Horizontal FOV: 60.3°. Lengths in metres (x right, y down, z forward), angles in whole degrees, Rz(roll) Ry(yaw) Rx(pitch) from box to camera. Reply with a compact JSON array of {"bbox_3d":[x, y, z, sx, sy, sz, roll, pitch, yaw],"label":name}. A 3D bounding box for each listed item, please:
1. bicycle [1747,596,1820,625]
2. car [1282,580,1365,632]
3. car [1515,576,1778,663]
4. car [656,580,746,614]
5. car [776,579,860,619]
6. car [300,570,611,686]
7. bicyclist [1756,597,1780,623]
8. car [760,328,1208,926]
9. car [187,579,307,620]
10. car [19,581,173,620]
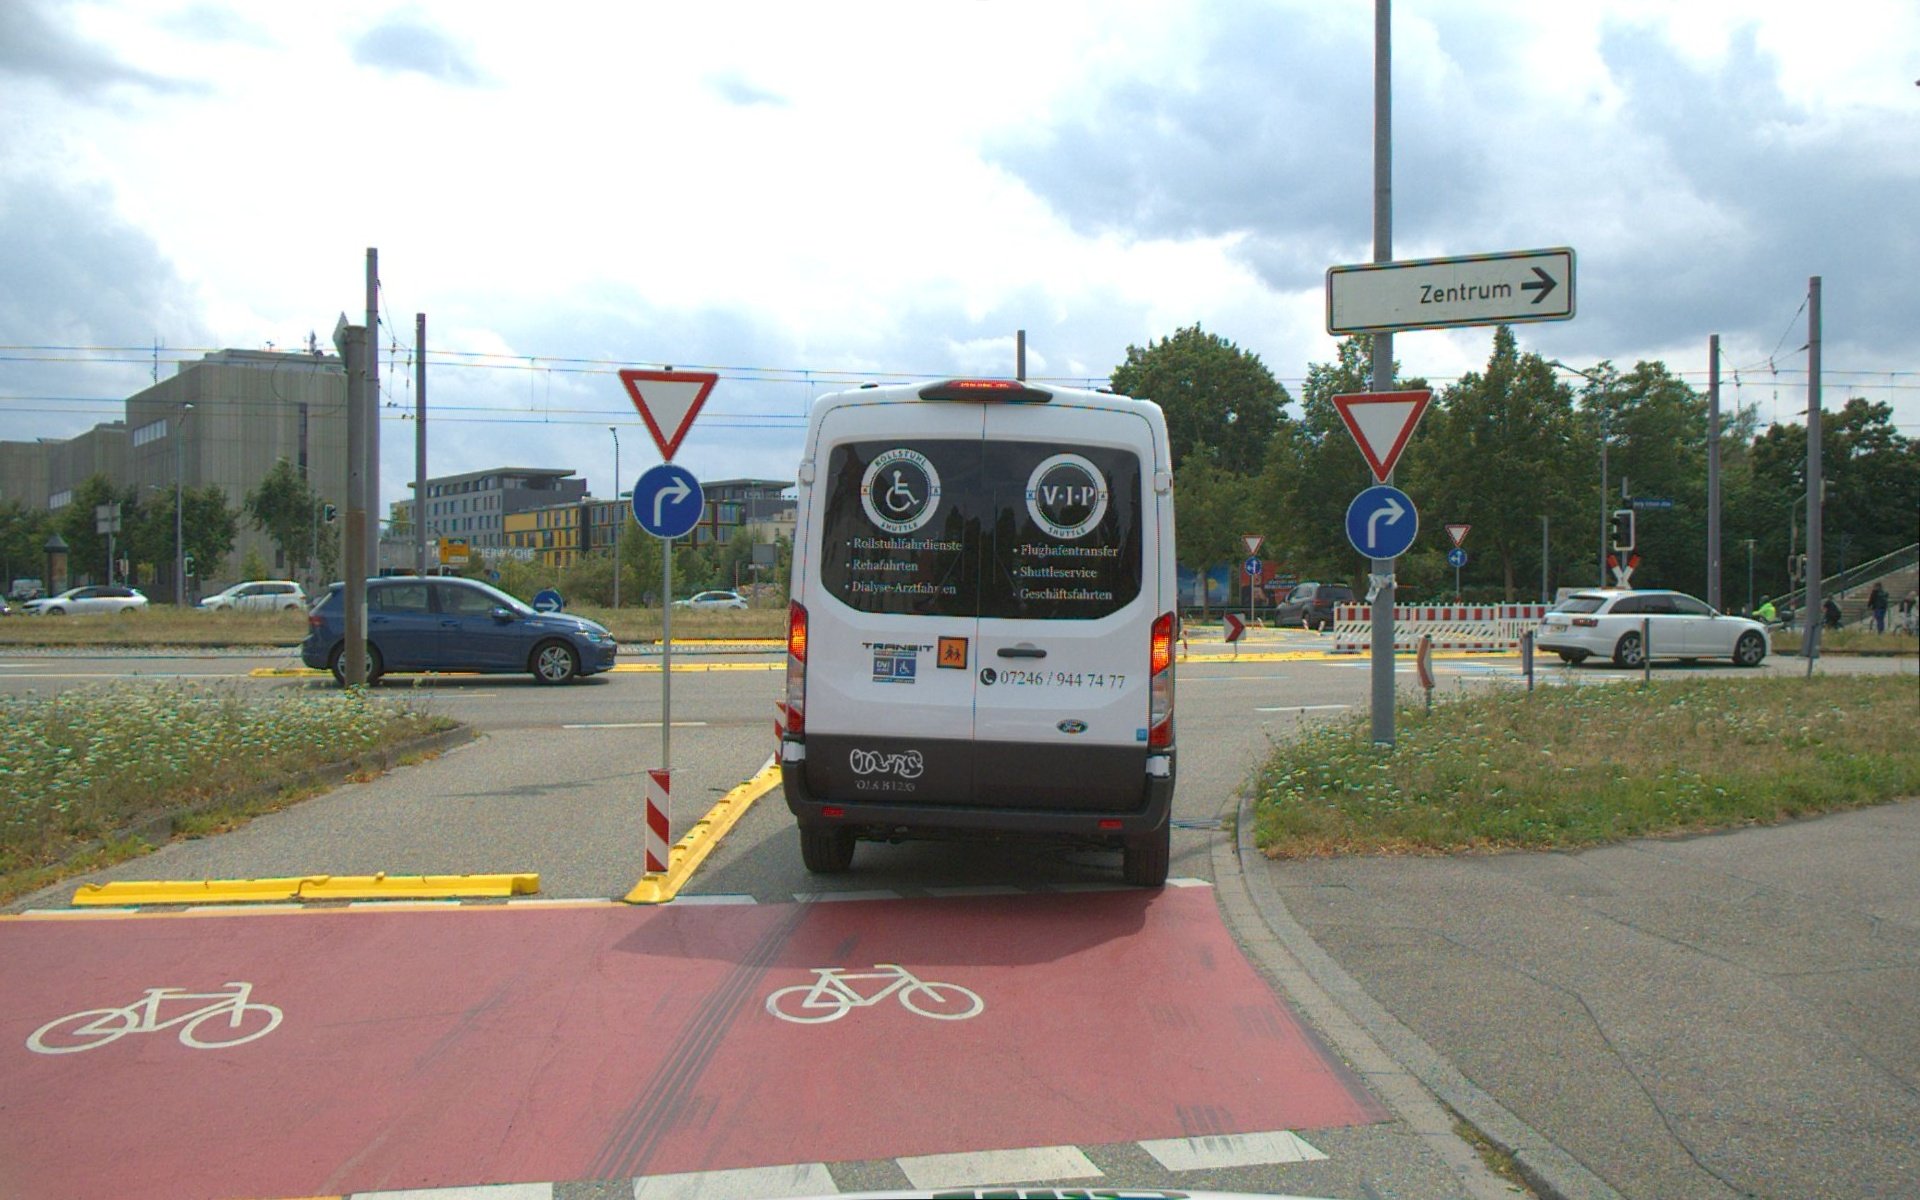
[{"bbox_3d":[28.034,0.345,56.341,2.162,0.954,0.611,0,-1,39],"label":"bicycle"},{"bbox_3d":[12.857,0.254,58.734,1.953,1.780,3.998,0,-1,-2],"label":"car"},{"bbox_3d":[13.615,0.370,32.840,4.661,1.646,1.991,0,0,-17],"label":"car"},{"bbox_3d":[-13.419,-0.150,85.638,4.280,1.695,1.926,0,0,-22],"label":"car"},{"bbox_3d":[-7.820,-0.030,90.943,4.282,2.049,1.989,1,-1,-19],"label":"car"},{"bbox_3d":[-6.962,0.364,23.226,4.032,1.523,1.796,0,0,-13],"label":"car"},{"bbox_3d":[27.663,0.343,56.641,0.646,0.899,0.604,0,-1,38],"label":"bicyclist"},{"bbox_3d":[0.365,0.115,10.495,2.081,2.745,5.635,0,0,5],"label":"car"},{"bbox_3d":[-30.209,-0.023,70.124,1.906,1.695,4.324,0,0,45],"label":"car"},{"bbox_3d":[-34.416,0.000,65.967,1.967,1.508,5.147,0,0,44],"label":"car"}]
